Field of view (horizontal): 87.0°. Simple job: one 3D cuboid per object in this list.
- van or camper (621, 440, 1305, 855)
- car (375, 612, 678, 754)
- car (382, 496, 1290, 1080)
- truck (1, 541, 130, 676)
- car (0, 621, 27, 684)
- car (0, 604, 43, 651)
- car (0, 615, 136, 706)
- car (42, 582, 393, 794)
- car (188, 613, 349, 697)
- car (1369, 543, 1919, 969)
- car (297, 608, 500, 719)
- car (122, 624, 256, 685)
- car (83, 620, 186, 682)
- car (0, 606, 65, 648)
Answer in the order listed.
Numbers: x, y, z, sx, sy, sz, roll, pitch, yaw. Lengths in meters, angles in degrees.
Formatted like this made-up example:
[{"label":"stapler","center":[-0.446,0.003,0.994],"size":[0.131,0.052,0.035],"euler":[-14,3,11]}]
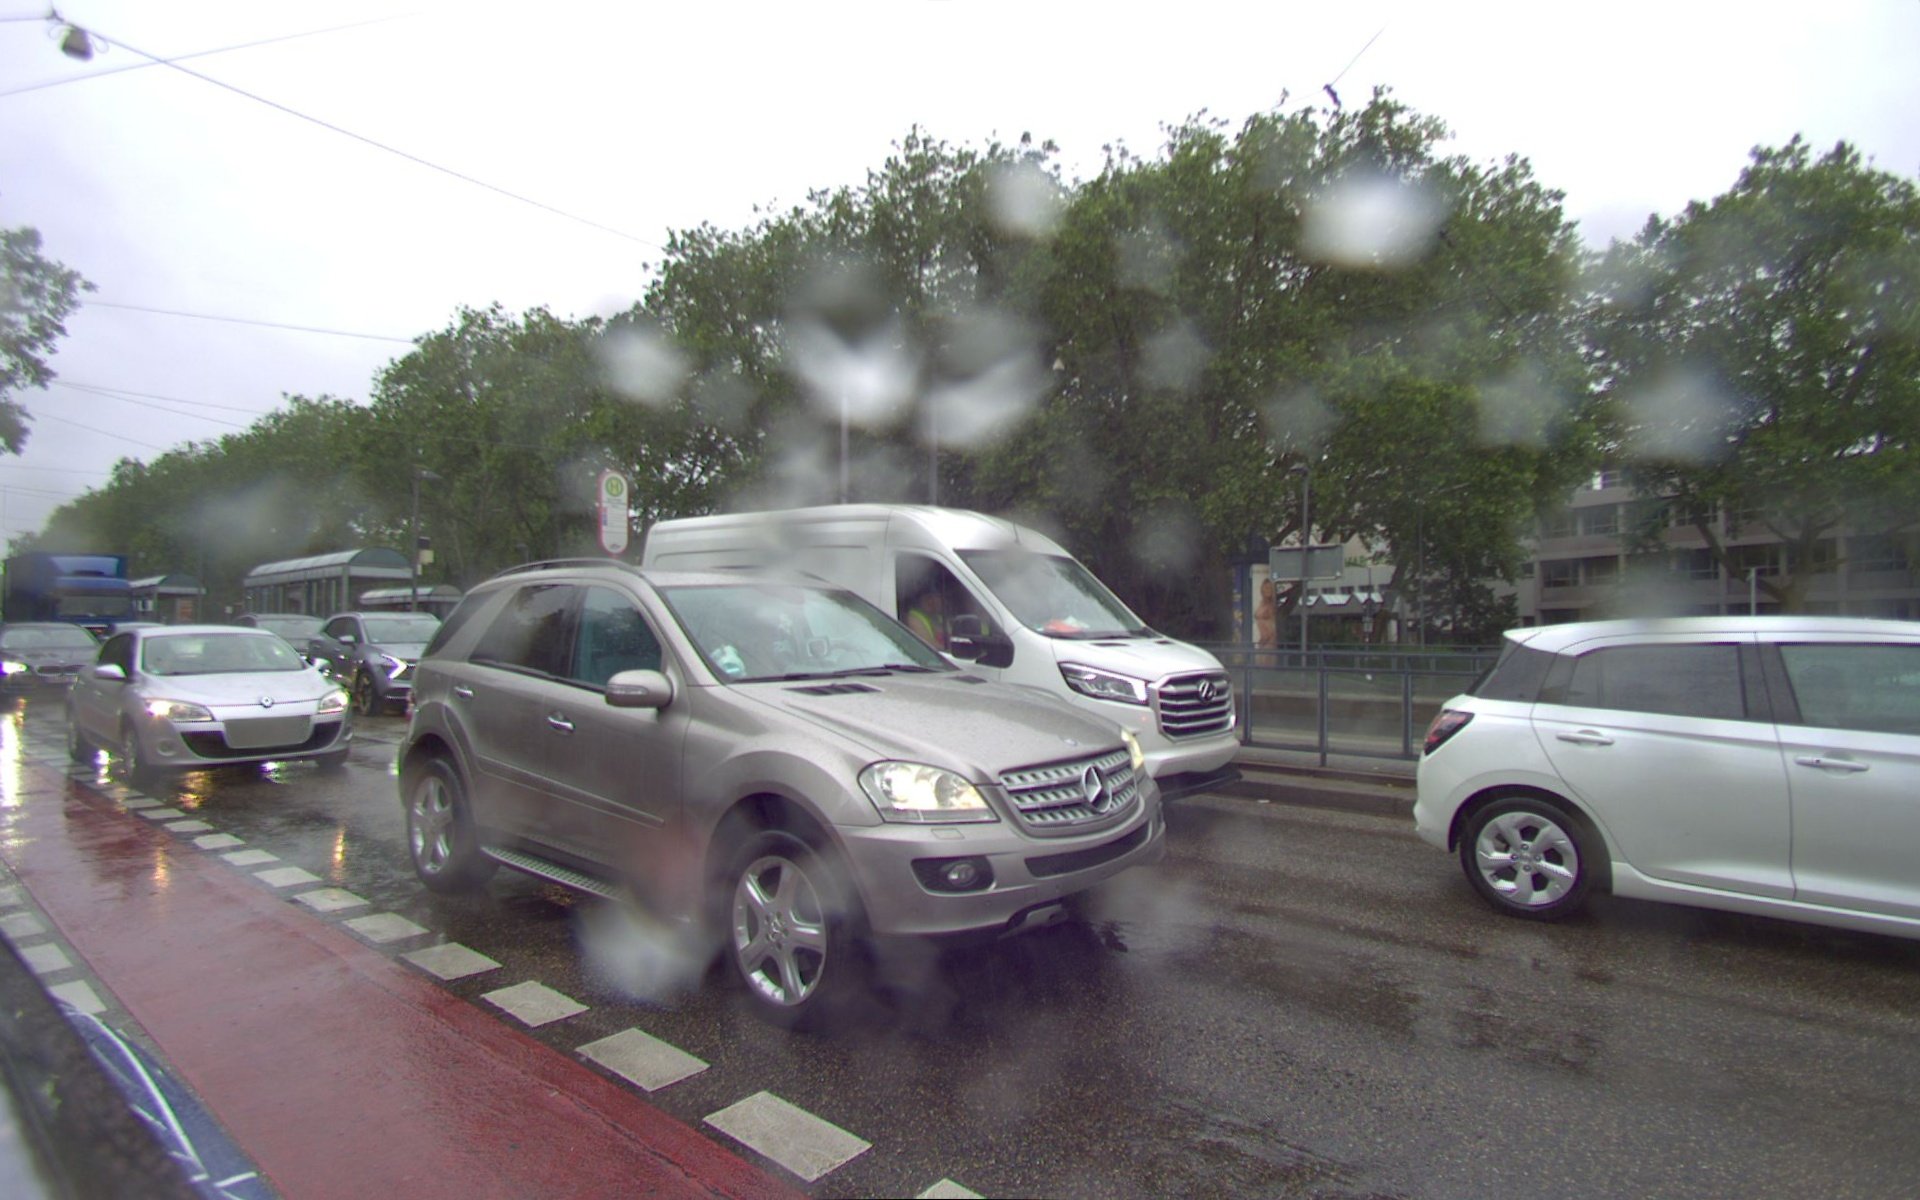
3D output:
[{"label":"van or camper","center":[-0.356,0.392,8.832],"size":[5.965,2.490,2.153],"euler":[-2,-2,40]},{"label":"car","center":[-5.716,0.985,13.060],"size":[4.553,1.525,1.763],"euler":[-3,-2,41]},{"label":"car","center":[-0.988,0.619,5.130],"size":[4.676,1.659,1.889],"euler":[-3,-2,40]},{"label":"truck","center":[-31.795,0.429,35.856],"size":[8.349,4.309,2.386],"euler":[-3,-2,41]},{"label":"car","center":[-27.417,1.479,28.132],"size":[4.191,1.659,1.887],"euler":[-3,-2,43]},{"label":"car","center":[-46.394,1.322,49.131],"size":[5.453,2.166,2.313],"euler":[-1,0,43]},{"label":"car","center":[-17.664,1.139,19.719],"size":[4.667,1.561,1.887],"euler":[-3,-2,43]},{"label":"car","center":[-7.809,0.808,10.503],"size":[4.263,1.755,1.951],"euler":[-3,-2,39]},{"label":"car","center":[-15.274,1.186,22.273],"size":[4.187,1.659,1.889],"euler":[-3,-2,40]},{"label":"car","center":[4.212,0.600,4.470],"size":[4.074,1.599,1.782],"euler":[-3,-3,43]},{"label":"car","center":[-9.604,1.028,17.166],"size":[4.247,1.647,1.823],"euler":[-3,-2,43]},{"label":"car","center":[-19.821,1.376,25.964],"size":[4.187,1.418,1.889],"euler":[-3,-2,40]},{"label":"car","center":[-24.420,1.487,29.895],"size":[4.191,1.659,1.887],"euler":[-3,-2,44]},{"label":"car","center":[-40.680,1.162,44.138],"size":[3.998,1.728,1.973],"euler":[-1,0,41]}]
